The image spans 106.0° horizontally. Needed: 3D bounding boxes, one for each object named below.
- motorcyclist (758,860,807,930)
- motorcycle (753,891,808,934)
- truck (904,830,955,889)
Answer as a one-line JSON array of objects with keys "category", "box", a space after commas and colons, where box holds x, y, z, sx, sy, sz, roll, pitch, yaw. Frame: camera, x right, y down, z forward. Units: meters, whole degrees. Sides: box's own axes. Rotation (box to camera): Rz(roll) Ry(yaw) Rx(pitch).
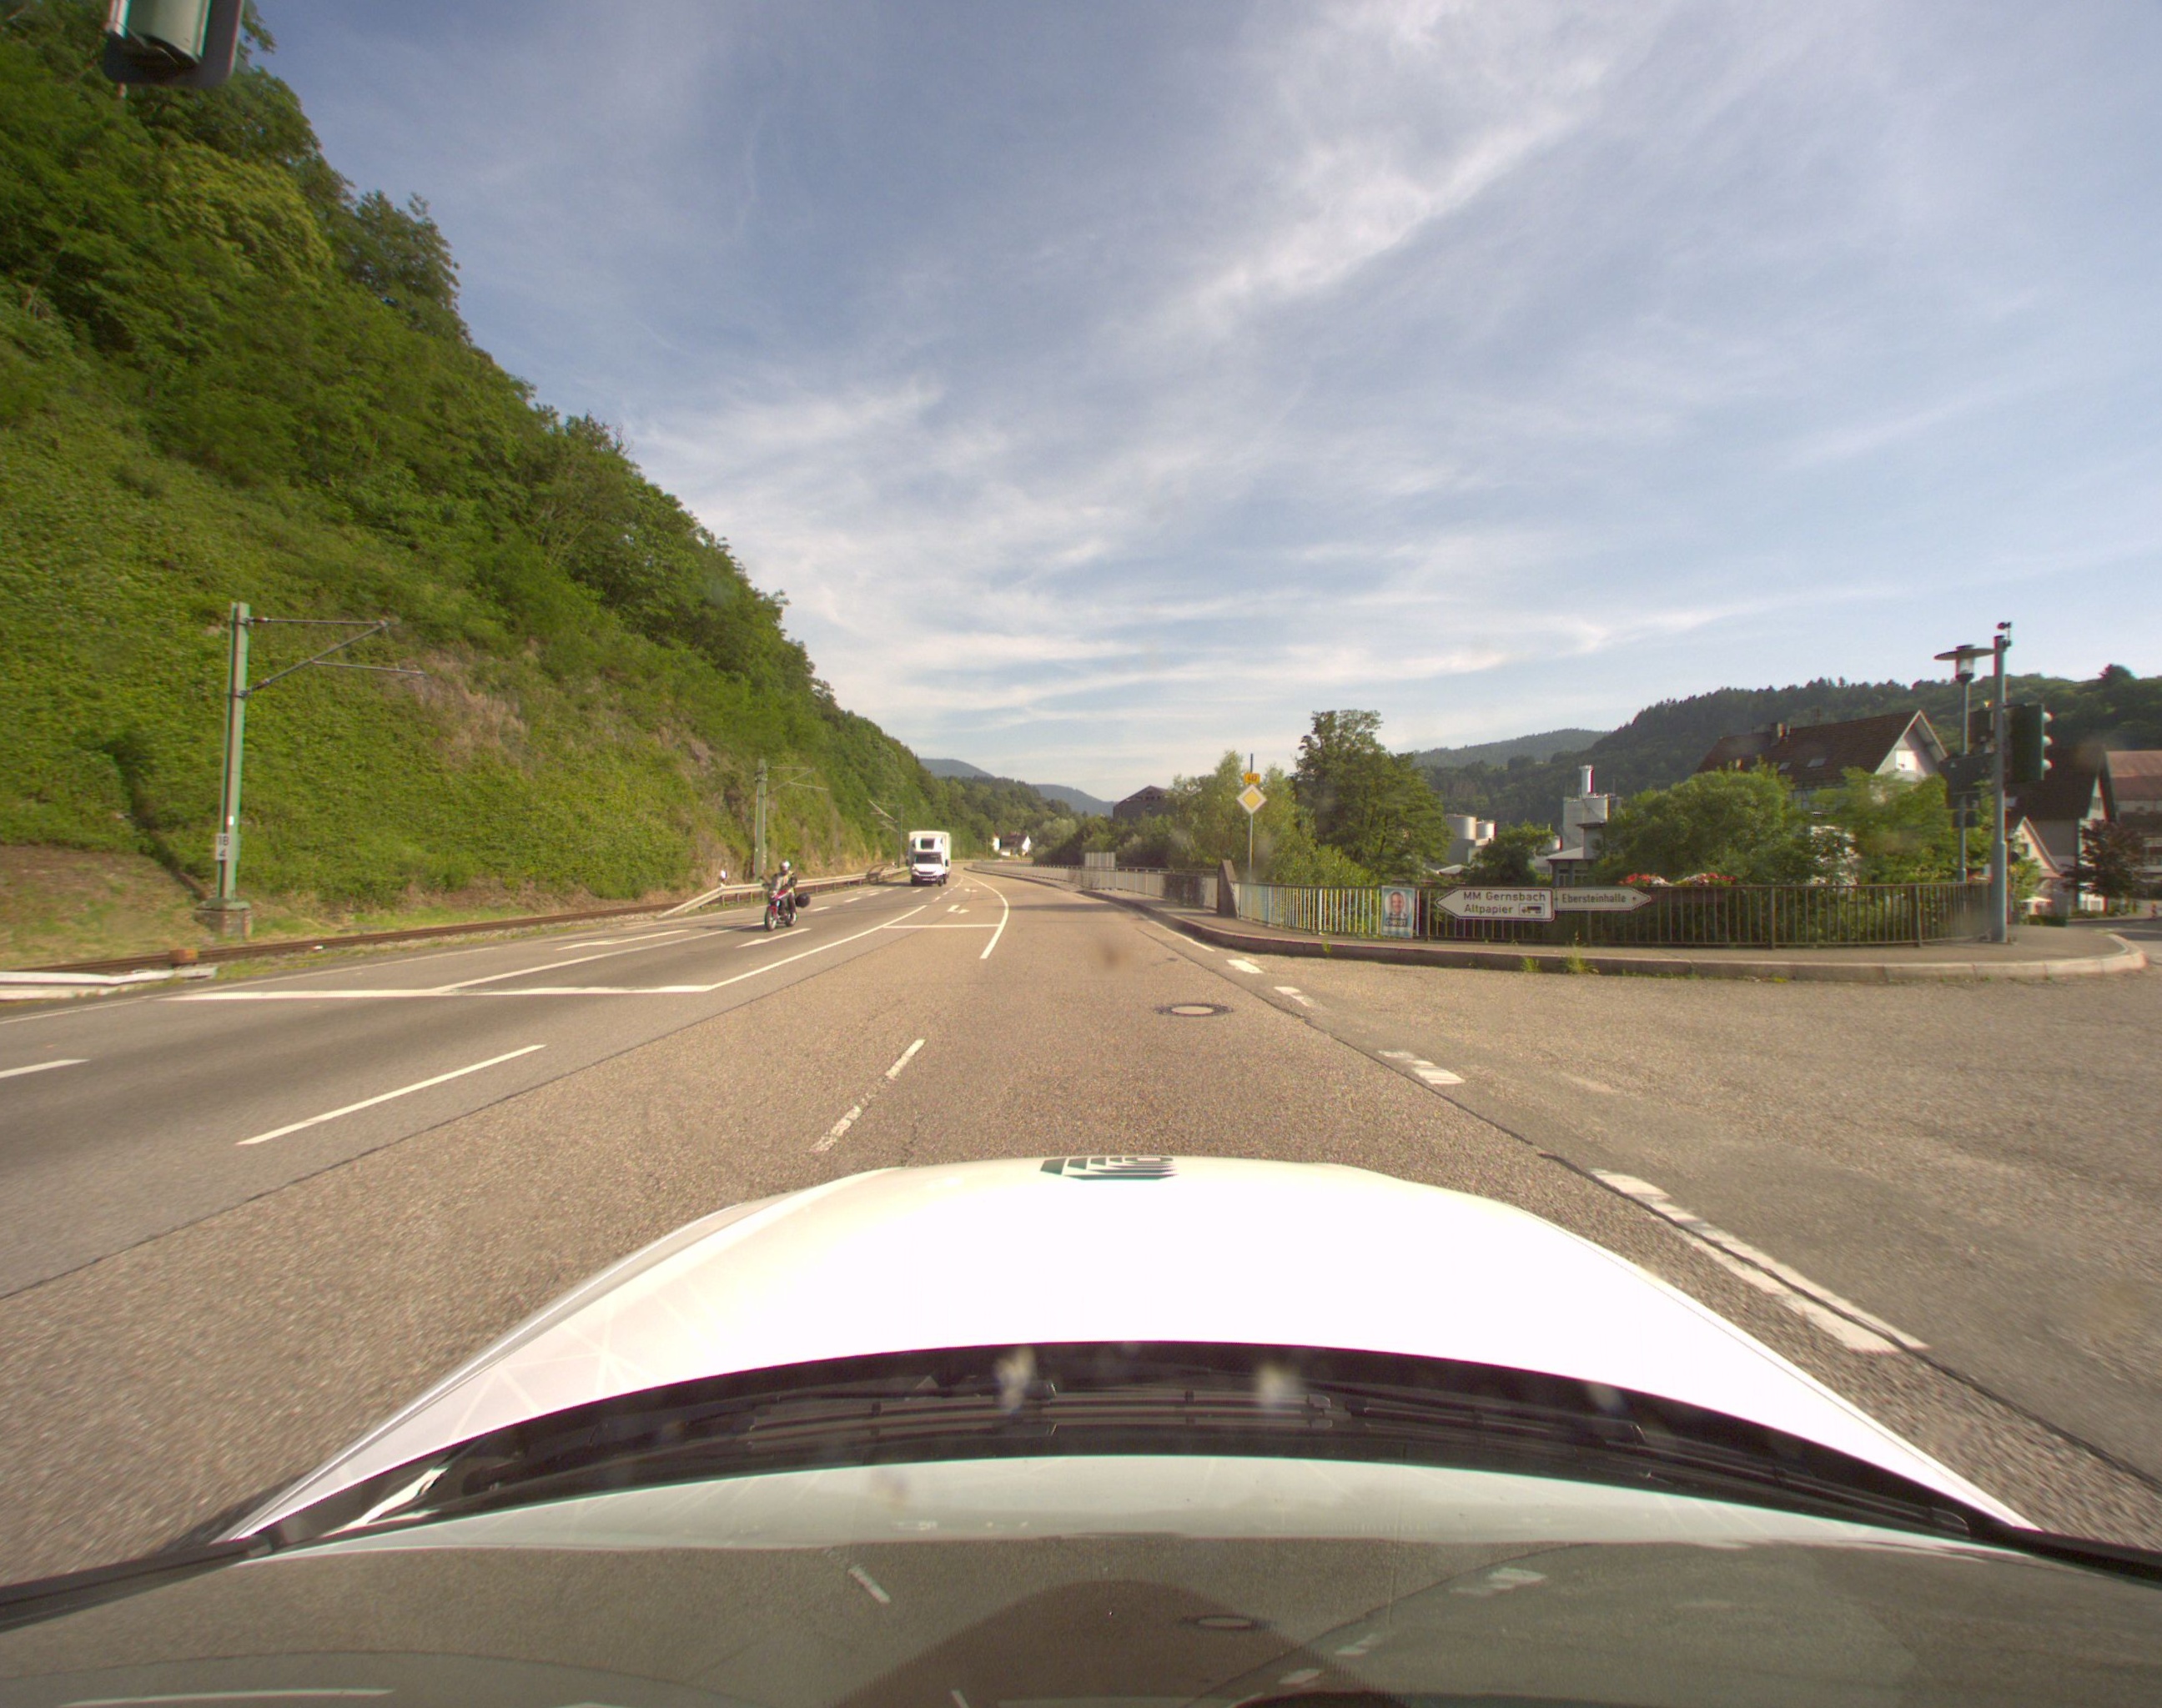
[{"category": "motorcyclist", "box": [-7.551, 1.023, 20.641, 1.005, 1.715, 0.863, 0, -1, -8]}, {"category": "motorcycle", "box": [-7.573, 1.454, 20.618, 0.823, 0.954, 2.212, 0, -1, -7]}, {"category": "truck", "box": [-10.453, 0.410, 56.807, 2.894, 3.799, 8.872, 0, -1, -7]}]
